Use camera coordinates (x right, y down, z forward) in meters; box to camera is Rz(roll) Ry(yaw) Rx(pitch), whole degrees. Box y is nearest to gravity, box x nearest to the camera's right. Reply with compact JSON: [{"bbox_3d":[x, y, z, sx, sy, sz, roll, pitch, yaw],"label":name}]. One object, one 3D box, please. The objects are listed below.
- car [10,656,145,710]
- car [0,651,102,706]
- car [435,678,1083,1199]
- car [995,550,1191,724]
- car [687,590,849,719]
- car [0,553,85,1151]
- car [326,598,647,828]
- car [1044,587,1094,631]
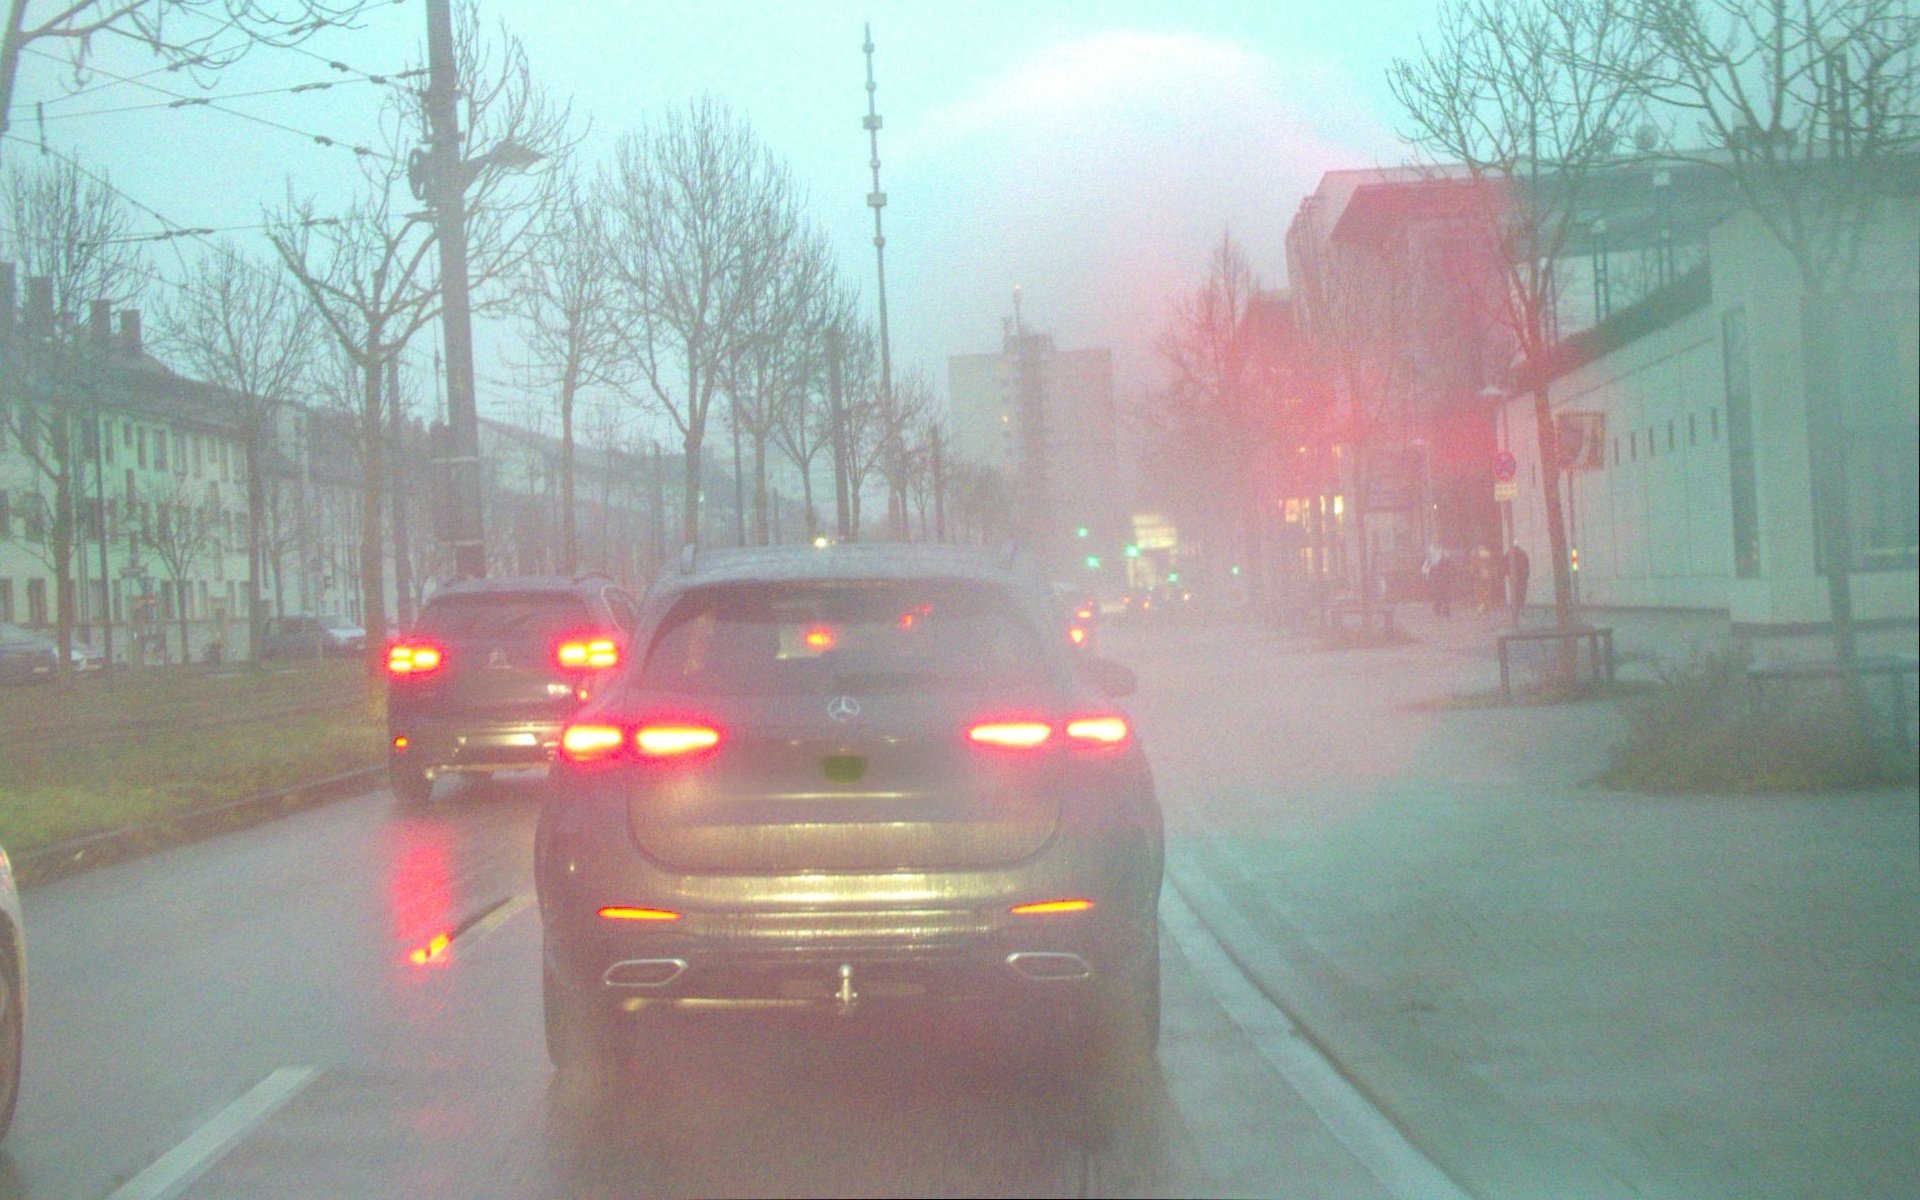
[{"bbox_3d":[-24.981,2.353,97.284,3.552,1.349,1.778,-3,0,36],"label":"car"},{"bbox_3d":[-25.252,2.155,93.523,3.552,1.349,1.778,-3,0,36],"label":"car"},{"bbox_3d":[-0.484,1.129,11.465,1.672,1.594,4.053,-2,0,3],"label":"car"},{"bbox_3d":[1.516,0.390,38.406,1.994,1.738,4.000,-3,0,3],"label":"car"},{"bbox_3d":[-2.513,0.699,45.848,1.672,1.594,4.053,-2,0,3],"label":"car"},{"bbox_3d":[-3.443,0.694,7.953,1.672,1.594,4.053,-2,0,1],"label":"car"},{"bbox_3d":[-3.562,0.806,26.529,1.672,1.594,4.053,-2,0,3],"label":"car"},{"bbox_3d":[4.589,0.361,144.678,1.994,1.723,4.000,-3,0,2],"label":"car"}]
